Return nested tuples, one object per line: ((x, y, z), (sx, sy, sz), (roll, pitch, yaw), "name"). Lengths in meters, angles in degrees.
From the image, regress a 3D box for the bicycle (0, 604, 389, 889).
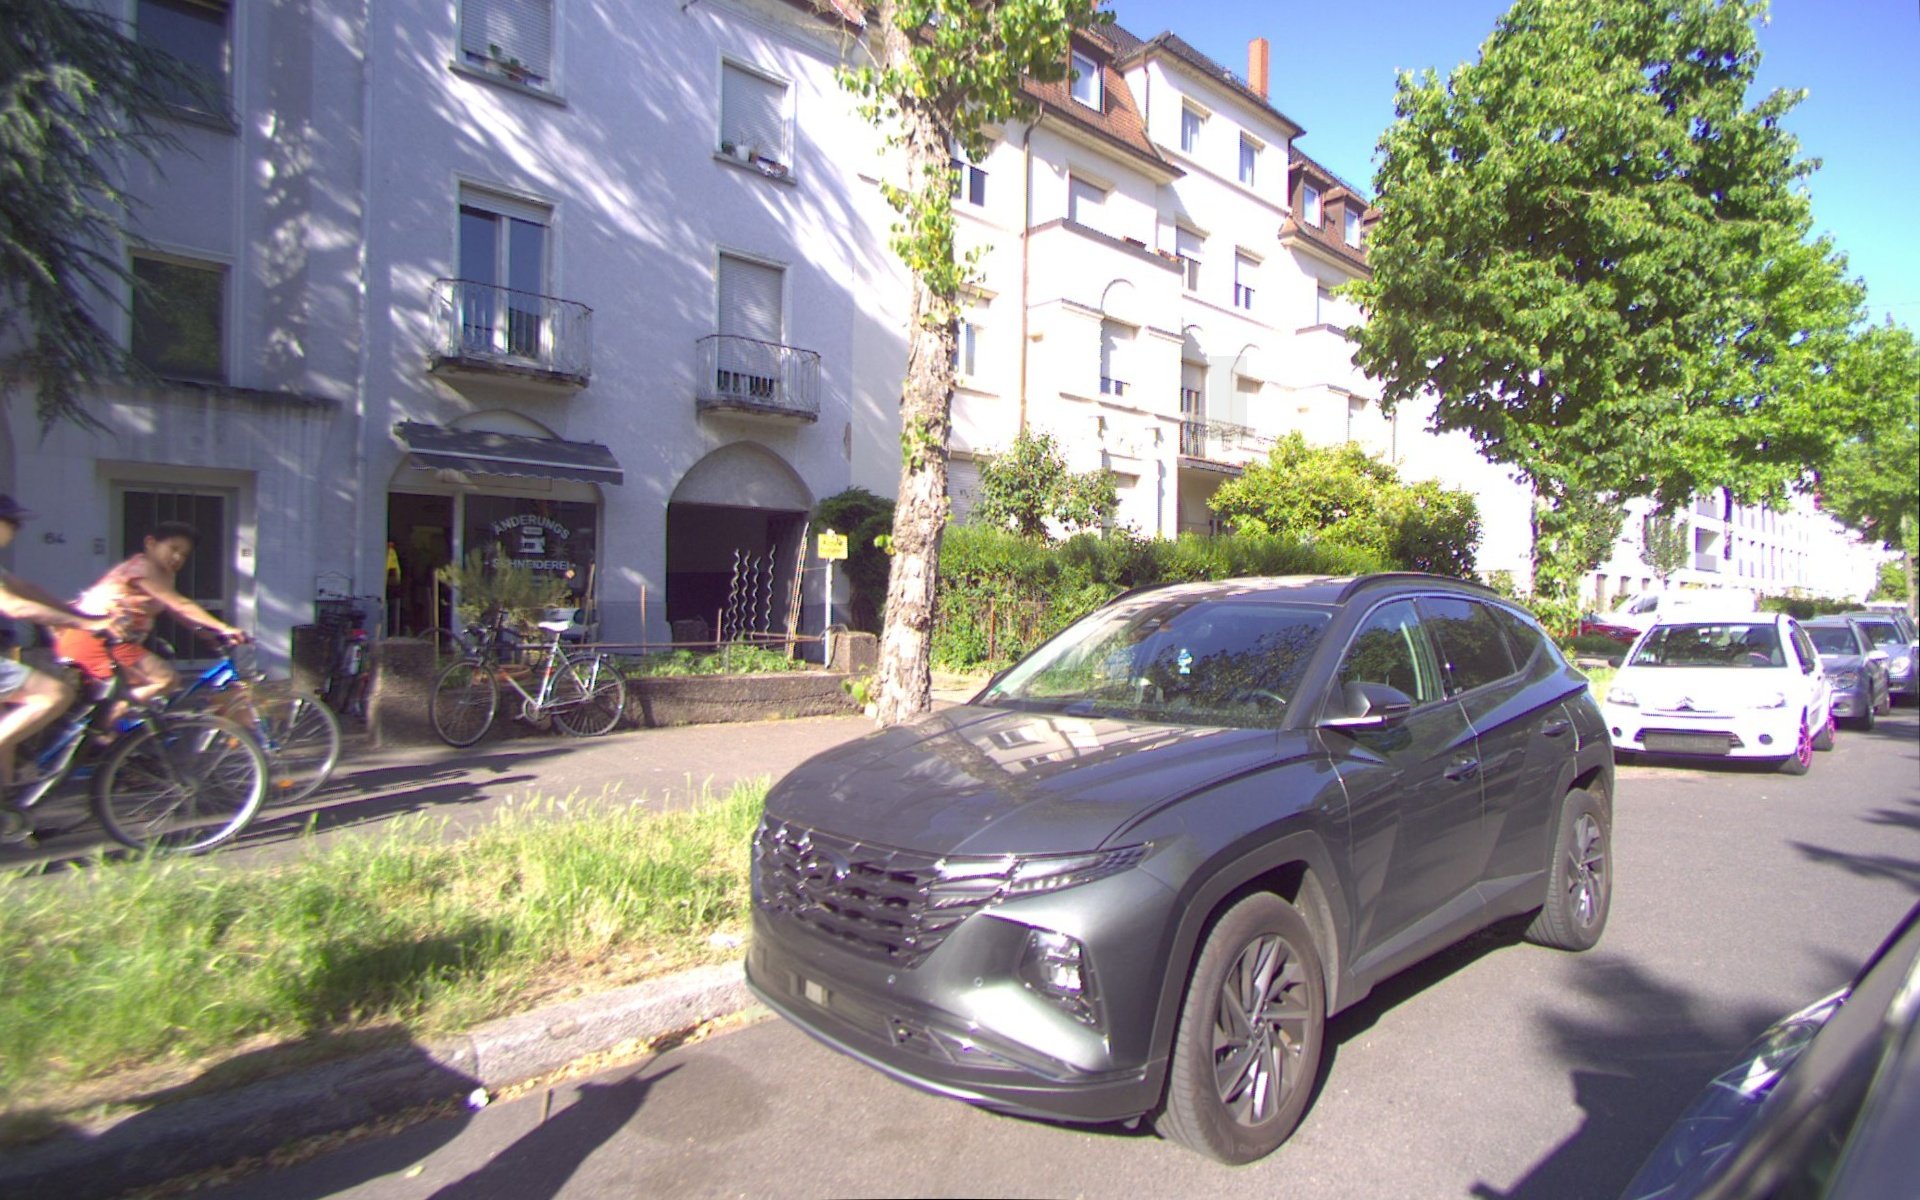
((-4.041, 0.615, 4.660), (0.684, 1.168, 2.364), (1, 1, 44), "bicycle")

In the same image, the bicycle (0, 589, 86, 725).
((-8.557, 0.474, 9.392), (0.572, 1.114, 1.902), (1, 1, -38), "bicycle")

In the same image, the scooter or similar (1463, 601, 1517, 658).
((11.370, 0.636, 21.698), (1.181, 1.200, 0.403), (2, 0, -27), "scooter or similar")

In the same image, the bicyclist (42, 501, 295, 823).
((-4.324, 0.296, 5.548), (0.676, 1.573, 1.005), (1, 1, 44), "bicyclist")

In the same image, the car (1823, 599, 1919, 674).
((21.509, 0.763, 23.394), (4.885, 1.543, 1.897), (-1, 1, -44), "car")

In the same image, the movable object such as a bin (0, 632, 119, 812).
((-6.078, 0.668, 5.790), (1.629, 0.916, 1.228), (1, 0, -21), "movable object such as a bin")

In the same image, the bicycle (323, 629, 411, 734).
((-5.150, 0.667, 8.756), (0.463, 0.766, 1.366), (1, 1, -38), "bicycle")

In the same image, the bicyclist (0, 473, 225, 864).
((-4.023, 0.281, 4.674), (0.677, 1.630, 0.907), (1, 0, 45), "bicyclist")

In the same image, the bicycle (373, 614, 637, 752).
((-3.661, 0.618, 8.261), (1.870, 0.987, 0.582), (1, 1, -41), "bicycle")

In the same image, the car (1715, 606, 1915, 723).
((12.479, 0.808, 14.652), (4.780, 1.429, 1.712), (0, -1, -44), "car")

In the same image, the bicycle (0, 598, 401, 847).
((-4.421, 0.585, 5.452), (0.684, 1.168, 2.364), (1, 1, 44), "bicycle")

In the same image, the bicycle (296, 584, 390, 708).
((-6.299, 0.416, 10.291), (0.572, 1.114, 1.902), (1, 1, -38), "bicycle")

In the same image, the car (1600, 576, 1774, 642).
((27.605, 0.293, 38.689), (5.004, 2.335, 2.215), (1, 0, 25), "car")

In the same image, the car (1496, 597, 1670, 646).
((21.085, 0.674, 34.466), (1.913, 1.488, 4.741), (0, 1, -27), "car")

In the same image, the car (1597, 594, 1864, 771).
((8.343, 0.750, 10.834), (3.903, 1.552, 1.655), (0, -2, -44), "car")

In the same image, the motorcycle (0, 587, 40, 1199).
((-2.159, 0.703, 1.856), (0.676, 1.440, 2.355), (1, 0, -42), "motorcycle")

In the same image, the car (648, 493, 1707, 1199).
((1.420, 0.652, 4.449), (5.005, 1.673, 1.929), (1, -2, -41), "car")

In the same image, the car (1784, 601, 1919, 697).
((16.142, 0.780, 17.912), (4.827, 1.488, 1.823), (0, -1, -44), "car")
